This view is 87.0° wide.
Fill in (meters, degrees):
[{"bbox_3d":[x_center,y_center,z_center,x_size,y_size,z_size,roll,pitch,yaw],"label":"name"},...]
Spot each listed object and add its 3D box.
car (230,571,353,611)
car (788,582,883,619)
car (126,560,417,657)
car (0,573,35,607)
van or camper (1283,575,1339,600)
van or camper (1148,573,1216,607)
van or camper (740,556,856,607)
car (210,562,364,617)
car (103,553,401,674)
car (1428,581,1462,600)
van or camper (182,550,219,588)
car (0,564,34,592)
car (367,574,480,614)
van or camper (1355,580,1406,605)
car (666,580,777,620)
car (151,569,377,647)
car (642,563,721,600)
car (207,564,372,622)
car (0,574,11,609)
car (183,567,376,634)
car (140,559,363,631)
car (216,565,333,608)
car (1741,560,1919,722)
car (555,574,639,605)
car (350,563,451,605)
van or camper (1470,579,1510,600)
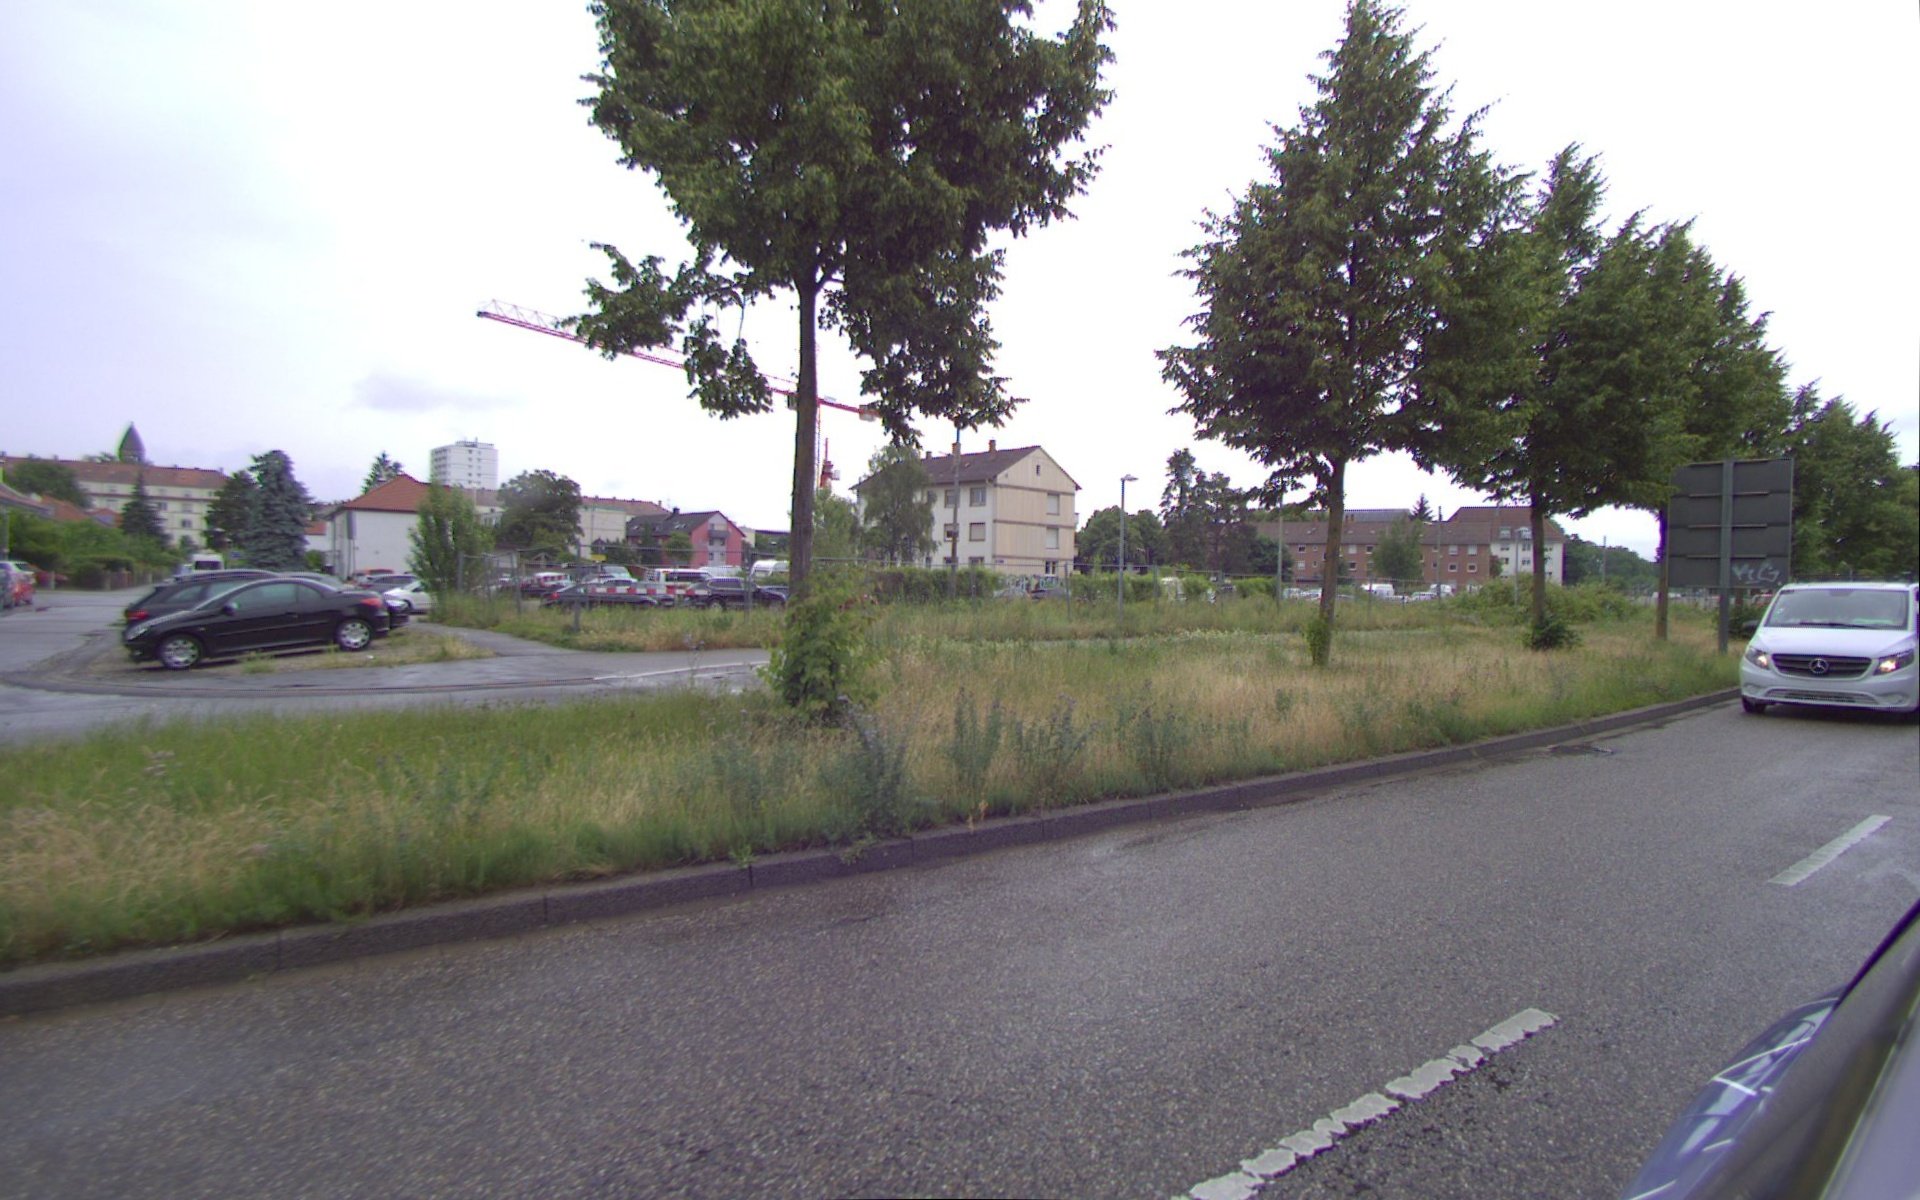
[{"bbox_3d":[-27.380,-0.391,41.499,3.965,1.369,1.698,-5,4,-42],"label":"car"},{"bbox_3d":[-5.702,0.007,46.617,3.924,1.621,1.861,0,1,-36],"label":"car"},{"bbox_3d":[-13.400,0.082,19.952,4.474,1.472,1.861,-5,4,-36],"label":"car"},{"bbox_3d":[-42.053,-0.453,44.273,1.826,1.434,4.000,0,1,-35],"label":"car"},{"bbox_3d":[34.638,-1.182,99.717,6.537,2.337,2.504,0,-1,-44],"label":"van or camper"},{"bbox_3d":[18.345,-0.827,83.534,6.290,2.722,2.311,0,1,-44],"label":"van or camper"},{"bbox_3d":[-10.131,-1.111,63.542,6.658,3.031,2.912,0,1,-41],"label":"van or camper"},{"bbox_3d":[-21.046,-0.333,31.725,3.924,1.621,1.861,0,1,-36],"label":"car"},{"bbox_3d":[-12.020,0.141,17.466,3.926,1.599,1.862,-6,4,-34],"label":"car"},{"bbox_3d":[59.052,-1.150,123.197,4.682,2.248,2.273,0,0,-45],"label":"car"},{"bbox_3d":[-54.564,-2.199,72.721,2.054,2.617,5.629,0,0,-37],"label":"van or camper"},{"bbox_3d":[-55.427,-1.266,57.588,3.931,1.602,1.858,0,1,-42],"label":"car"},{"bbox_3d":[-22.983,-0.287,43.397,3.963,1.463,1.699,-5,4,-40],"label":"car"},{"bbox_3d":[45.412,-0.796,109.265,6.312,2.568,2.778,0,-1,-44],"label":"van or camper"},{"bbox_3d":[-10.007,-0.003,42.531,4.153,1.621,1.861,0,1,-36],"label":"car"},{"bbox_3d":[-15.240,0.104,22.328,3.926,1.472,1.861,-3,3,-36],"label":"car"},{"bbox_3d":[-16.025,-1.040,58.335,4.091,2.030,1.699,0,1,-40],"label":"car"},{"bbox_3d":[-19.720,-0.201,29.849,3.924,1.621,1.861,0,1,-36],"label":"car"},{"bbox_3d":[-38.776,-0.349,39.631,1.826,1.389,4.000,0,1,-35],"label":"car"},{"bbox_3d":[-18.295,-0.044,27.357,4.152,1.492,1.791,-4,3,-36],"label":"car"},{"bbox_3d":[-17.259,-0.133,24.853,4.332,1.621,1.861,0,1,-36],"label":"car"},{"bbox_3d":[-30.148,-0.621,44.551,3.967,1.621,1.857,-5,4,-43],"label":"car"},{"bbox_3d":[13.177,0.471,14.739,5.004,2.004,1.970,0,1,-42],"label":"car"},{"bbox_3d":[-19.680,-0.562,54.898,3.961,1.601,1.699,0,1,-41],"label":"car"},{"bbox_3d":[-26.251,-0.766,47.490,3.956,1.732,1.702,-4,3,-33],"label":"car"},{"bbox_3d":[60.668,-1.163,115.820,6.046,2.337,2.204,0,-1,-44],"label":"van or camper"}]
